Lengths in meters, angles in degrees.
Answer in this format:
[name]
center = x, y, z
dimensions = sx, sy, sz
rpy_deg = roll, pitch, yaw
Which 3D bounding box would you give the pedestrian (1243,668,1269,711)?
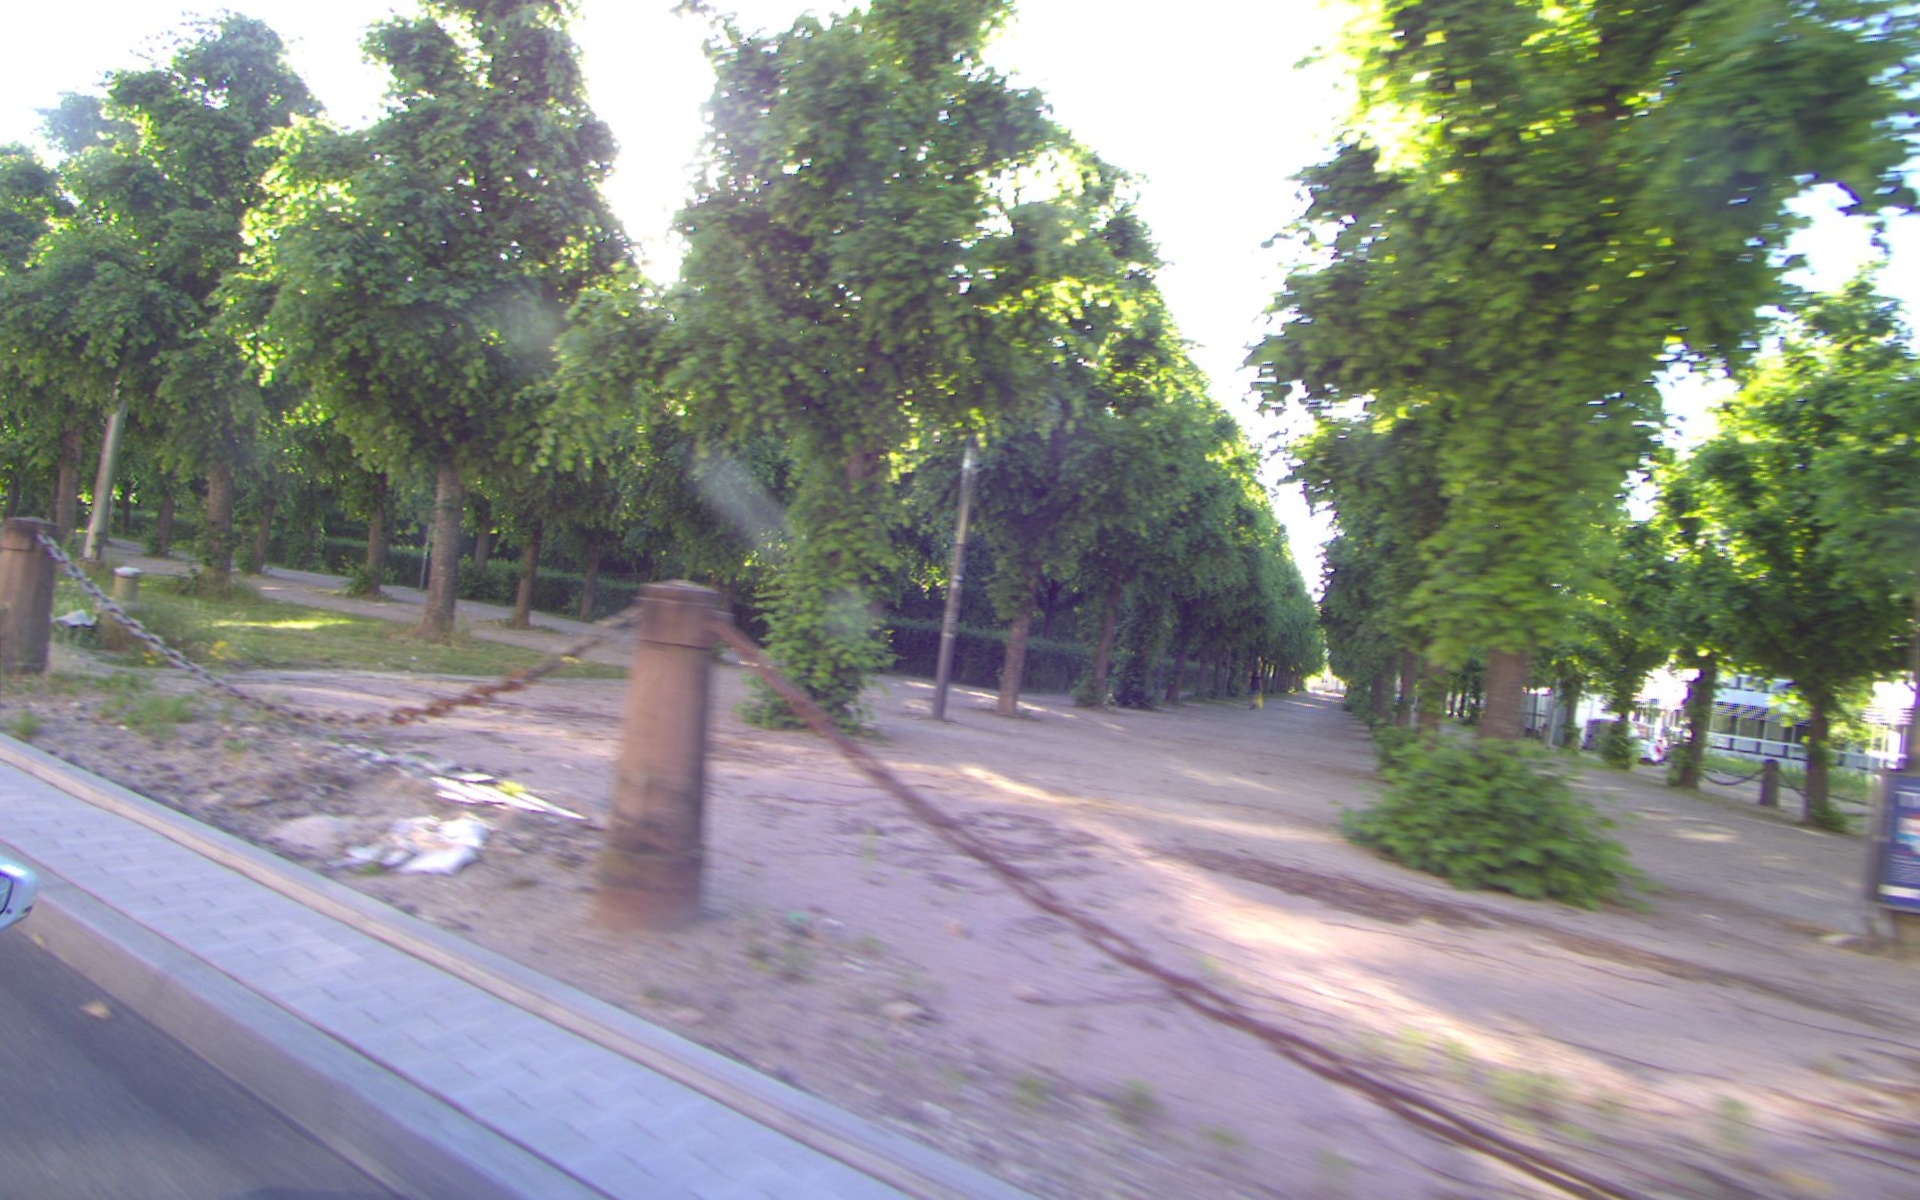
[pedestrian]
center = 11.951, 3.601, 40.638
dimensions = 0.823, 1.602, 0.681
rpy_deg = 7, -1, 18
